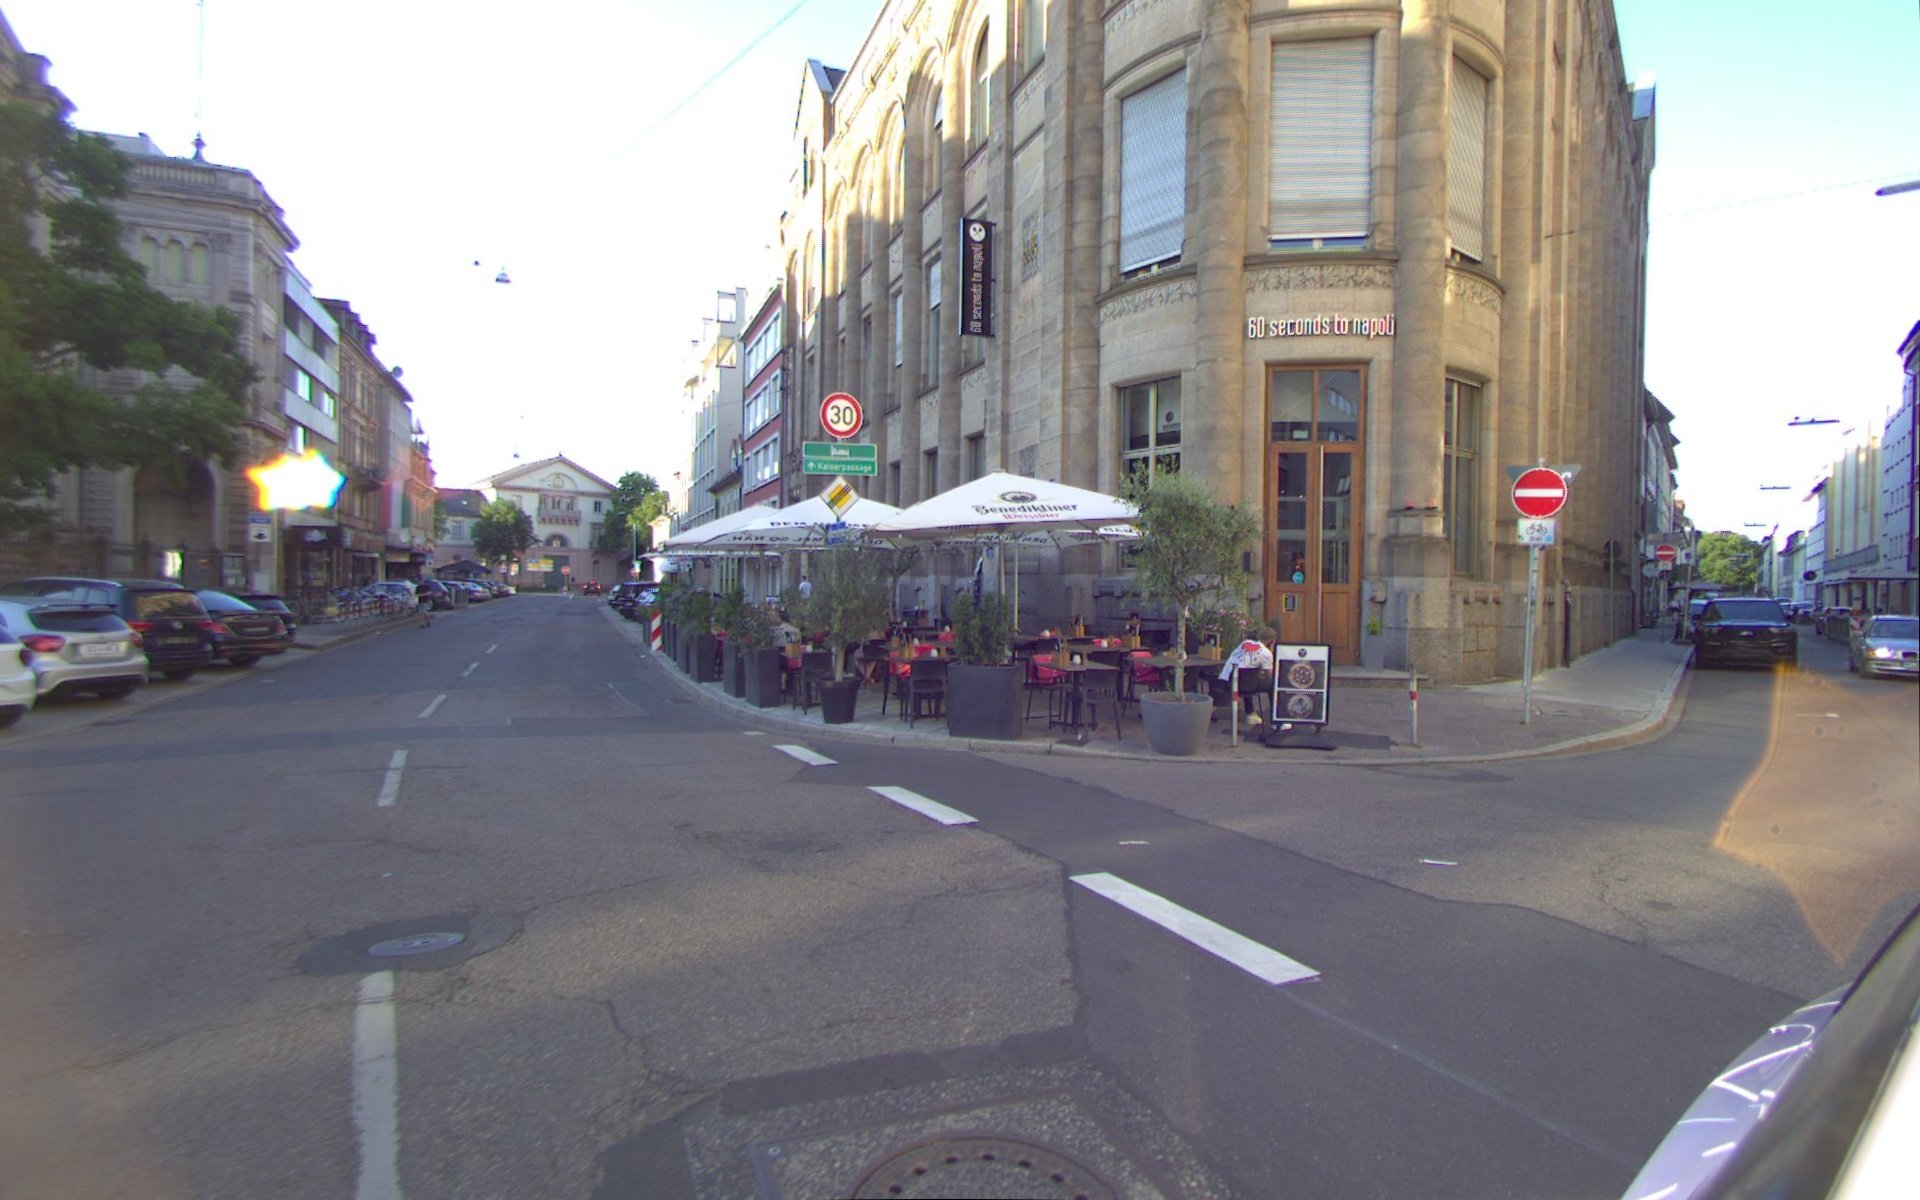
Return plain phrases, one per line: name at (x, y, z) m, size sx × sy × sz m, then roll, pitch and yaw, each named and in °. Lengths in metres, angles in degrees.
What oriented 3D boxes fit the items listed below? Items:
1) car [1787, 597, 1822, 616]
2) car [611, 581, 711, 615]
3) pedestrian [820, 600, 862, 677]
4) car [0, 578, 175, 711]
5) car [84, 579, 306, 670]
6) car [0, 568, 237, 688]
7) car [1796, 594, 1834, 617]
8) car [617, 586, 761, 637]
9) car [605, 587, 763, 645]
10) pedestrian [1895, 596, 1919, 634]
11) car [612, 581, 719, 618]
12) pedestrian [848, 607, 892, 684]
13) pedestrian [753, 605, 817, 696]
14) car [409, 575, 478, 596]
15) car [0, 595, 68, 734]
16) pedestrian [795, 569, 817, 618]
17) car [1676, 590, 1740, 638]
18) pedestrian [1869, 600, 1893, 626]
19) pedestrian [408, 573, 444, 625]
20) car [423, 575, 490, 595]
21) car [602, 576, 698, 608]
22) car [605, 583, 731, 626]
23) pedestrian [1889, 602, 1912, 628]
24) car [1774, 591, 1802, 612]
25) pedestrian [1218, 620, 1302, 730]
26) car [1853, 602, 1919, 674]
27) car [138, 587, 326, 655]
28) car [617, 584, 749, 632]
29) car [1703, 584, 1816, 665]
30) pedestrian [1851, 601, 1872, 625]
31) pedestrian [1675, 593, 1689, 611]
car at (69.558, 0.491, 83.371) m, size 1.989 × 1.489 × 4.399 m, roll 1°, pitch 1°, yaw 37°
car at (-13.152, -0.106, 44.755) m, size 1.744 × 1.430 × 4.055 m, roll 1°, pitch 1°, yaw 36°
pedestrian at (-2.040, 0.644, 17.299) m, size 0.588 × 1.261 × 0.687 m, roll 1°, pitch 0°, yaw -18°
car at (-13.488, 0.518, 14.092) m, size 3.932 × 1.544 × 1.752 m, roll 3°, pitch 1°, yaw 7°
car at (-14.852, 0.406, 19.657) m, size 3.955 × 1.628 × 1.742 m, roll 0°, pitch 1°, yaw 23°
car at (-14.421, 0.397, 16.876) m, size 3.942 × 1.742 × 1.747 m, roll 2°, pitch 1°, yaw 15°
car at (66.465, 0.423, 78.761) m, size 1.989 × 1.697 × 4.399 m, roll 1°, pitch 1°, yaw 37°
car at (-8.130, 0.289, 30.650) m, size 1.744 × 1.430 × 4.055 m, roll 1°, pitch 1°, yaw 36°
car at (-7.476, 0.380, 27.730) m, size 1.744 × 1.430 × 4.017 m, roll 1°, pitch 1°, yaw 36°
pedestrian at (37.601, 0.576, 40.162) m, size 0.607 × 1.491 × 0.542 m, roll 0°, pitch 1°, yaw 30°
car at (-12.194, -0.055, 42.117) m, size 1.744 × 1.430 × 4.092 m, roll 1°, pitch 1°, yaw 36°
pedestrian at (-1.446, 0.717, 16.229) m, size 0.588 × 1.203 × 0.574 m, roll 1°, pitch 0°, yaw -18°
pedestrian at (-2.504, 0.704, 14.517) m, size 0.680 × 1.261 × 0.595 m, roll 1°, pitch 0°, yaw 29°
car at (-35.881, -1.011, 70.361) m, size 3.922 × 1.430 × 1.756 m, roll 0°, pitch 1°, yaw -2°
car at (-12.601, 0.599, 11.356) m, size 3.845 × 1.464 × 1.752 m, roll 5°, pitch 1°, yaw 7°
pedestrian at (-5.522, -0.242, 36.348) m, size 0.616 × 1.752 × 0.598 m, roll 0°, pitch 1°, yaw -27°
car at (28.391, 0.482, 38.494) m, size 1.767 × 1.687 × 3.951 m, roll 2°, pitch 1°, yaw 34°
pedestrian at (38.800, 0.526, 42.636) m, size 0.607 × 1.076 × 0.542 m, roll 0°, pitch 1°, yaw 30°
pedestrian at (-18.583, -0.054, 35.220) m, size 0.953 × 1.772 × 1.005 m, roll 0°, pitch 1°, yaw -19°
car at (-36.044, -1.074, 72.538) m, size 3.922 × 1.430 × 1.756 m, roll 0°, pitch 1°, yaw -2°
car at (-14.415, -0.407, 47.248) m, size 1.744 × 1.430 × 4.146 m, roll 1°, pitch 1°, yaw 36°
car at (-10.277, 0.104, 35.905) m, size 1.744 × 1.430 × 4.130 m, roll 1°, pitch 1°, yaw 36°
pedestrian at (39.777, 0.618, 42.803) m, size 0.598 × 1.076 × 0.542 m, roll 0°, pitch 1°, yaw 30°
car at (82.550, 0.145, 100.905) m, size 1.989 × 2.067 × 4.399 m, roll 1°, pitch 1°, yaw 37°
pedestrian at (3.520, 0.853, 11.881) m, size 0.807 × 1.203 × 0.606 m, roll 1°, pitch 0°, yaw -42°
car at (21.367, 0.793, 22.447) m, size 1.989 × 1.440 × 4.399 m, roll 1°, pitch 1°, yaw 37°
car at (-16.747, 0.425, 23.278) m, size 3.955 × 1.430 × 1.742 m, roll 0°, pitch 1°, yaw 23°
car at (-9.009, 0.215, 33.229) m, size 1.744 × 1.430 × 4.017 m, roll 1°, pitch 1°, yaw 36°
car at (20.059, 0.534, 25.577) m, size 1.988 × 1.805 × 4.870 m, roll 1°, pitch 1°, yaw 36°
pedestrian at (40.990, 0.589, 46.019) m, size 0.629 × 1.081 × 0.554 m, roll 0°, pitch 1°, yaw 30°
pedestrian at (50.712, 0.117, 71.097) m, size 0.733 × 1.258 × 0.637 m, roll 0°, pitch 1°, yaw 39°
